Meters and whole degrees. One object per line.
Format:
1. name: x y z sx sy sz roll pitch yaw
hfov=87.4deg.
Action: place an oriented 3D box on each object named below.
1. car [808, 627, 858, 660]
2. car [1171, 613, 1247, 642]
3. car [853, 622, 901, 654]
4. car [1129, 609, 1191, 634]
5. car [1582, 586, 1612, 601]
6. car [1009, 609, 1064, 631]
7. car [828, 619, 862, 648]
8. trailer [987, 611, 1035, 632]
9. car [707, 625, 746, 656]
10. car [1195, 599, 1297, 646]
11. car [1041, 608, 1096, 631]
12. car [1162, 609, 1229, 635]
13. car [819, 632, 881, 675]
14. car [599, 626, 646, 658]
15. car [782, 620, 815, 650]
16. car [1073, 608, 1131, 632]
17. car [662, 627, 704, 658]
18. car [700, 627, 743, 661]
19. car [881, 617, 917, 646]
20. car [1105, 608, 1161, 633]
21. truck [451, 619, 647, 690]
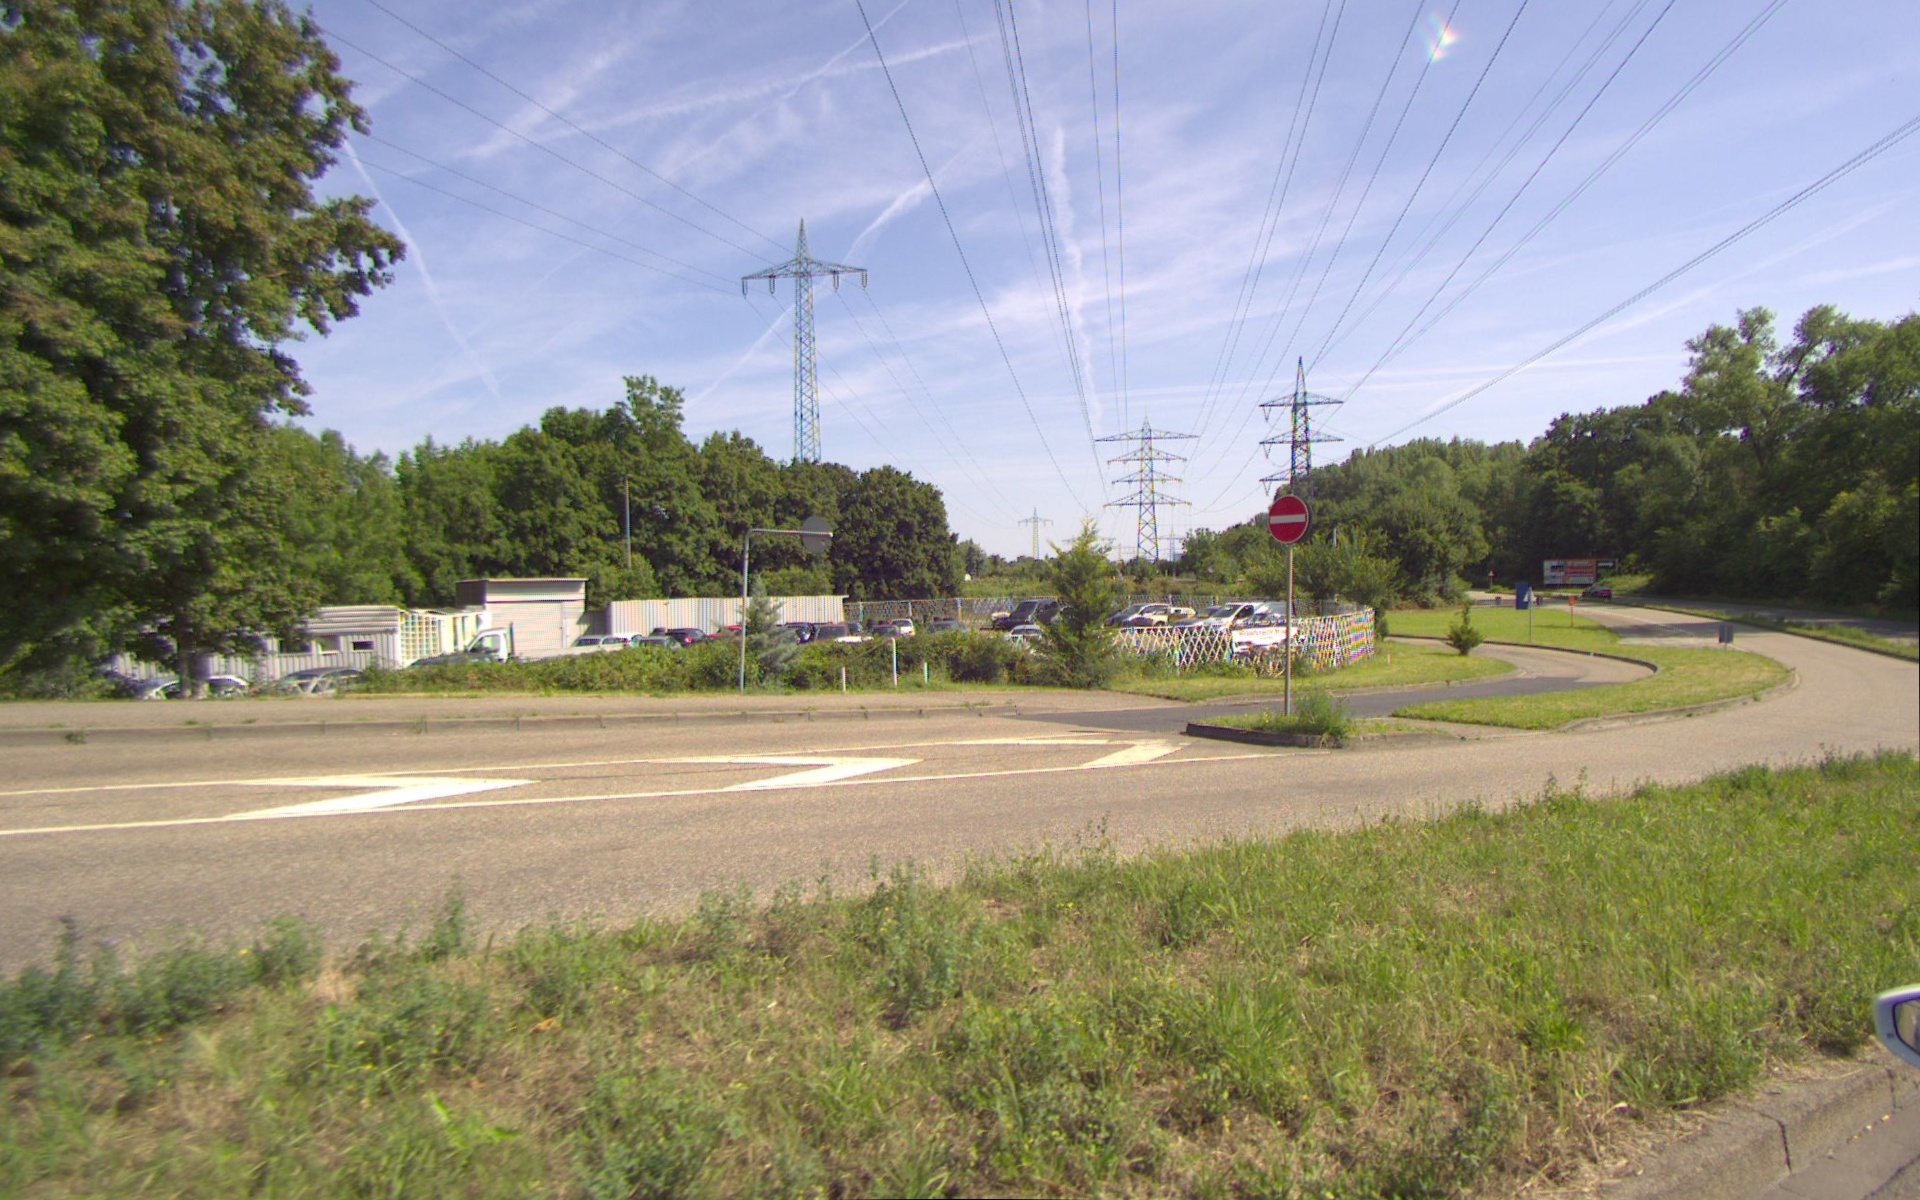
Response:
1. car: -5.812 1.981 46.162 1.566 1.310 3.181 -1 1 6
2. car: 12.809 1.372 51.646 3.593 1.310 1.588 -2 1 -26
3. car: -3.781 1.722 46.176 1.566 1.310 3.181 -1 1 6
4. car: 11.556 1.226 57.961 3.608 1.310 1.581 -2 1 -38
5. car: 70.674 -0.760 111.465 1.619 1.587 3.659 -1 1 10
6. car: 4.954 1.262 64.651 1.577 1.310 3.618 0 1 44
7. car: -5.872 1.690 51.149 1.570 1.310 3.175 -1 1 -9
8. trailer: 3.363 1.401 66.472 2.852 1.275 1.496 -1 1 -13
9. car: -11.399 1.932 49.145 1.570 1.310 3.175 -1 1 -9
10. car: 13.972 1.070 49.032 4.660 2.068 1.689 -1 1 -19
11. car: 6.916 1.234 63.822 1.577 1.310 3.618 0 1 44
12. car: 13.200 1.218 56.253 3.601 1.310 1.584 -2 1 -33
13. car: -3.967 1.925 36.512 1.566 1.310 3.181 -1 1 6
14. car: -15.849 1.955 47.321 1.570 1.310 3.175 -1 1 -9
15. car: -8.065 1.748 50.362 1.361 1.310 3.177 -1 1 -5
16. car: 8.749 1.228 61.652 3.612 1.310 1.580 -2 1 -41
17. car: -13.389 2.035 48.726 1.570 1.310 3.175 -1 1 -9
18. car: -10.618 1.933 44.896 1.570 1.310 3.175 -1 1 -9
19. car: -3.240 1.614 52.560 1.570 1.310 3.175 -1 1 -9
20. car: 10.380 1.218 60.088 1.577 1.310 3.618 0 1 44
21. truck: -14.697 1.879 36.180 6.281 2.142 2.481 -2 1 -24
